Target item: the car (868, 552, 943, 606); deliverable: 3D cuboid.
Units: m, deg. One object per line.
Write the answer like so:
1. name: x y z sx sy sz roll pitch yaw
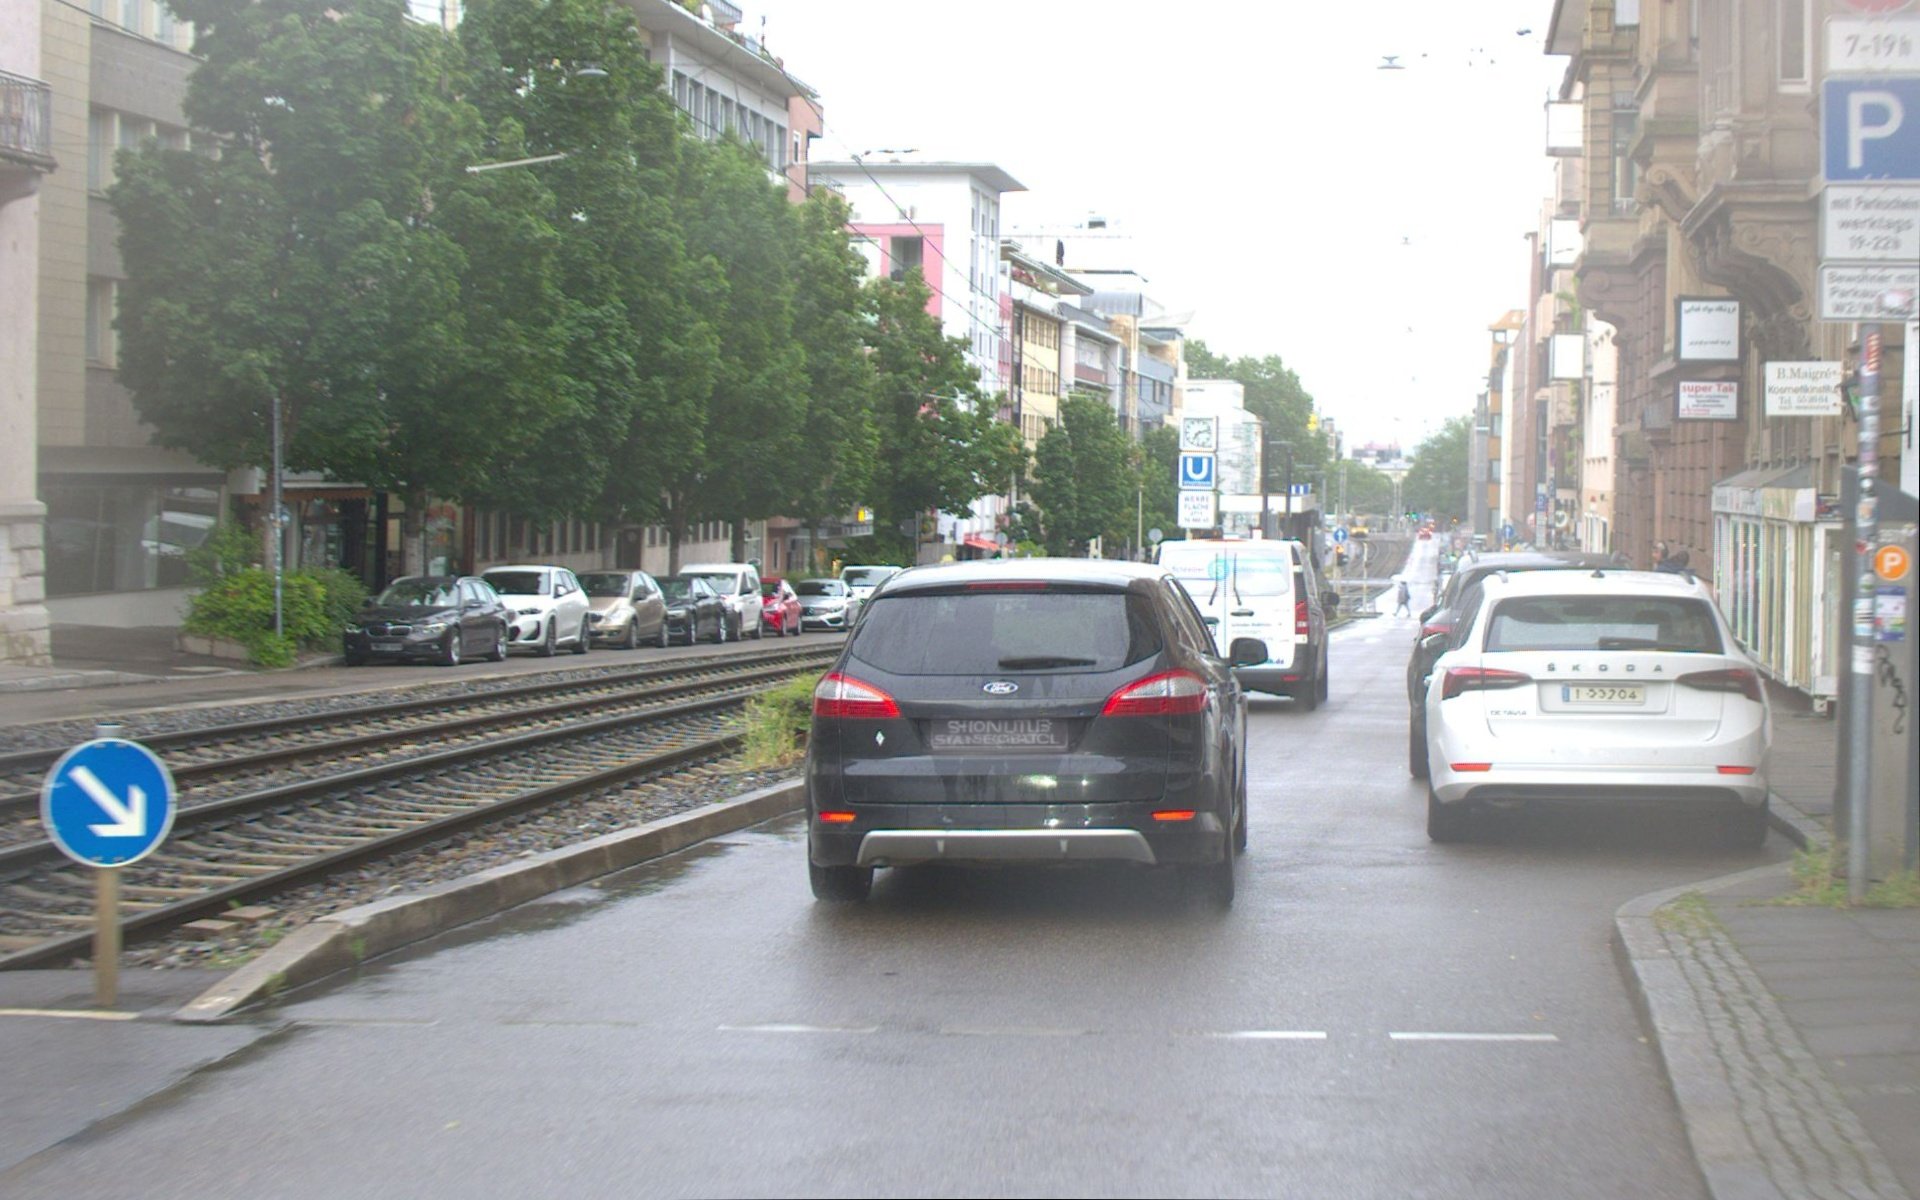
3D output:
1. car: -1.700 -0.644 108.701 1.695 1.568 4.044 2 -1 8

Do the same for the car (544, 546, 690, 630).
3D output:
1. car: -6.829 -0.223 68.919 1.856 1.543 4.429 2 -1 8

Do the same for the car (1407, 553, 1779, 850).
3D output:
1. car: 3.454 0.520 19.236 1.802 1.451 4.584 0 -1 8

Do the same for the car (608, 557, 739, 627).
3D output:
1. car: -6.122 -0.151 73.922 1.856 1.413 4.429 -1 -1 8

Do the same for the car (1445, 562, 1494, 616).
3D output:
1. car: 18.283 -0.375 123.330 1.592 1.775 3.777 3 -1 9

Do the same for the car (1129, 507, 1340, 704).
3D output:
1. car: 3.172 0.016 38.890 1.989 2.053 4.643 1 1 9

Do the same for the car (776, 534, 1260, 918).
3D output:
1. car: 0.396 0.493 15.626 1.843 1.502 3.999 0 0 6

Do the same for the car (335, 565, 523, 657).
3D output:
1. car: -8.644 0.211 56.381 1.694 1.373 4.719 2 -1 8

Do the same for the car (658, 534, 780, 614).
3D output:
1. car: -5.563 -0.574 79.863 1.856 1.695 4.429 2 -1 8

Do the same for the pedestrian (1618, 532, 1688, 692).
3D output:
1. pedestrian: 8.049 0.133 39.977 0.703 1.813 0.961 -1 1 8

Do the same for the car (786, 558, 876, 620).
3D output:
1. car: -3.453 -0.290 92.699 1.668 1.553 4.044 2 -1 8

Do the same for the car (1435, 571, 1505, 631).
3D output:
1. car: 12.585 0.019 84.992 1.671 1.416 3.475 1 0 8

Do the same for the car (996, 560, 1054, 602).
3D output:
1. car: 2.707 -0.775 142.065 1.856 1.631 4.044 2 -1 8

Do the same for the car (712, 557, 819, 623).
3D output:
1. car: -4.834 -0.229 85.837 1.856 1.522 4.044 2 -1 8

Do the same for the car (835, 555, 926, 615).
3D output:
1. car: -2.334 -0.421 102.072 1.856 1.631 4.933 2 -1 8

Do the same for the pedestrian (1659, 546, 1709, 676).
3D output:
1. pedestrian: 8.899 0.145 42.290 0.519 1.574 0.677 -1 -2 8

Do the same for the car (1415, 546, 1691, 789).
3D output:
1. car: 4.429 0.486 26.030 1.846 1.627 4.584 1 0 8

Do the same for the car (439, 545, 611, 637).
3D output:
1. car: -7.864 -0.134 62.556 1.856 1.543 4.719 2 -1 8
